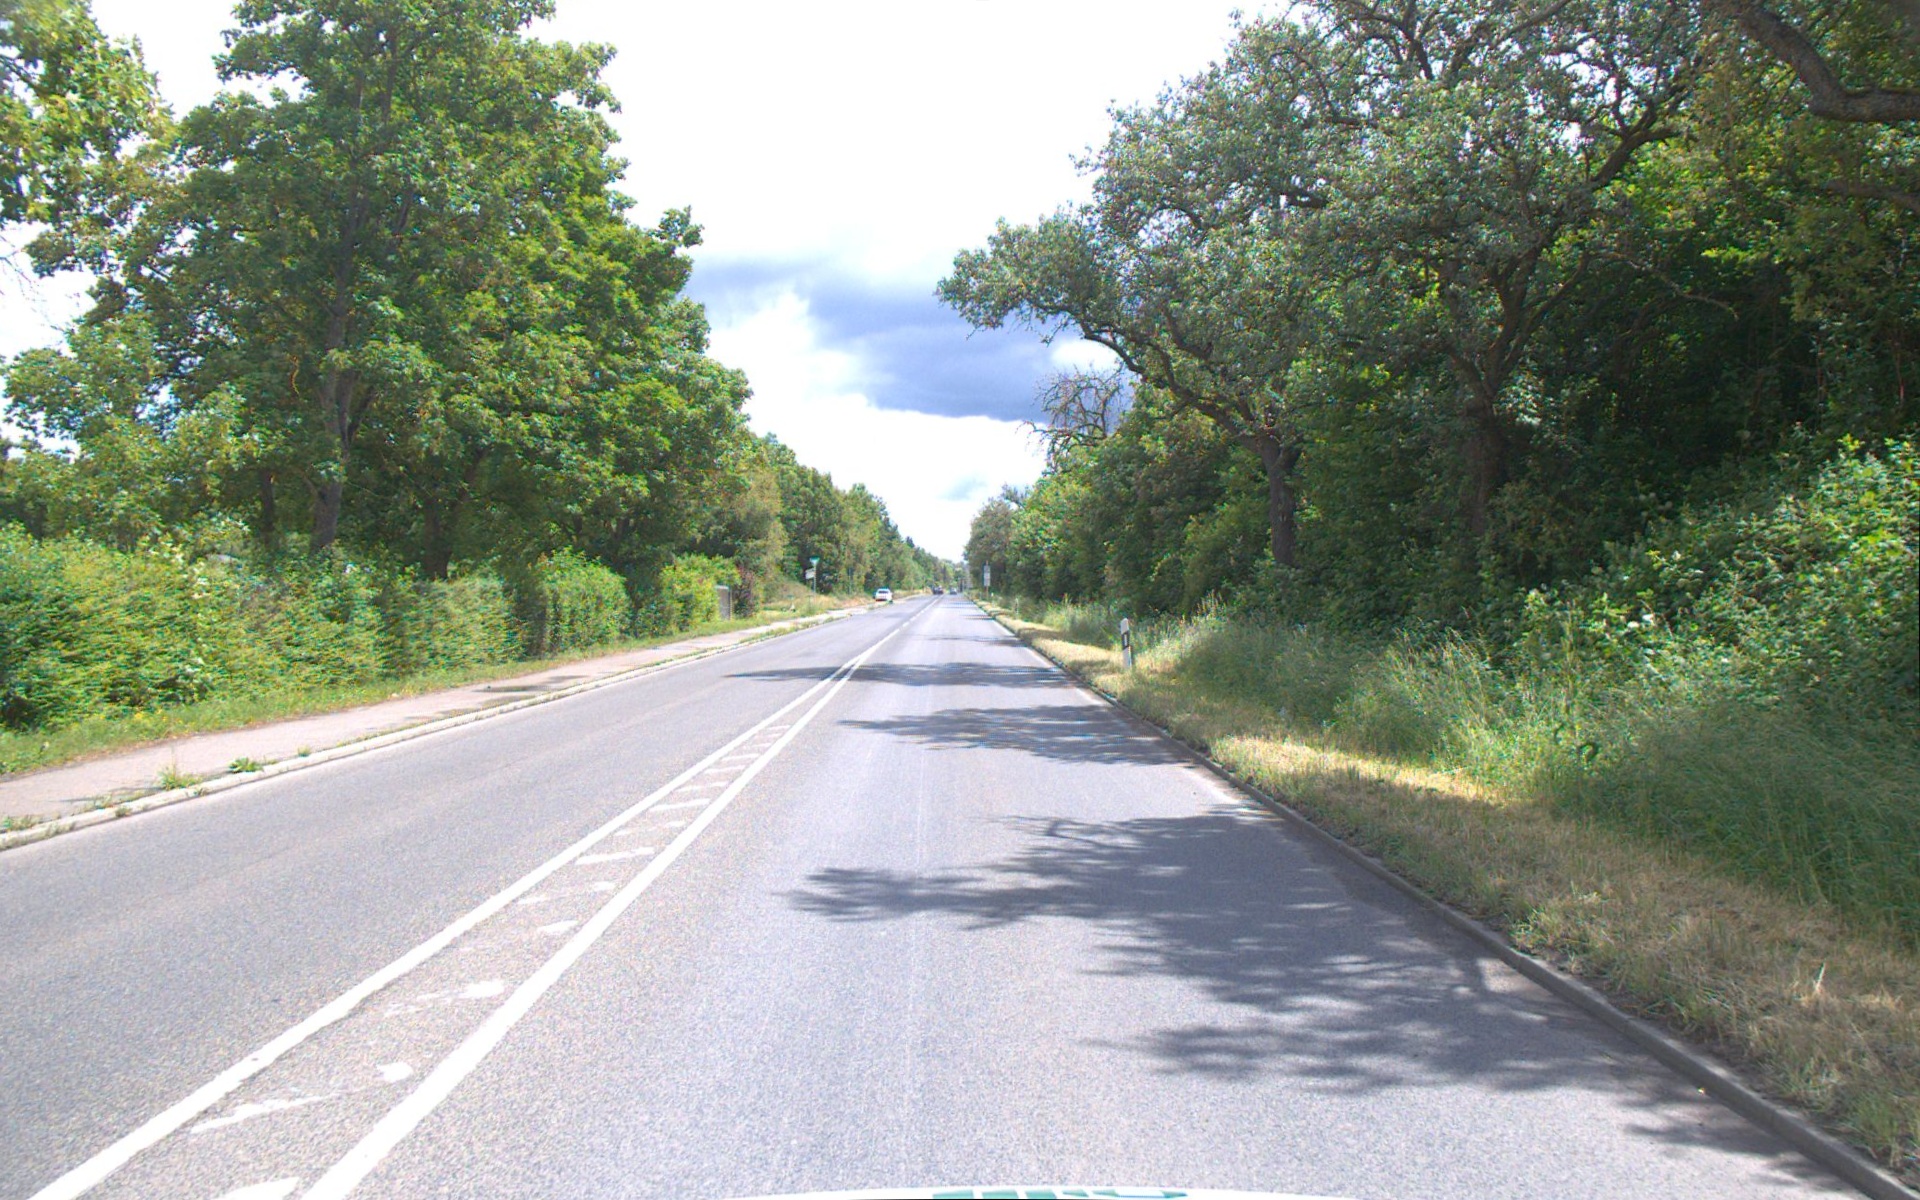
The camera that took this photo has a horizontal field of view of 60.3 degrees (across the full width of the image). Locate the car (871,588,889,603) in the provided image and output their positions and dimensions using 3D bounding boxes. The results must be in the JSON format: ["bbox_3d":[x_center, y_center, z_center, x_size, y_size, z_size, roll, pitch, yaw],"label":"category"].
[{"bbox_3d":[-8.950,-0.455,184.694,1.761,1.570,3.954,-1,-1,0],"label":"car"}]

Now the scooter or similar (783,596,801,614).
[{"bbox_3d":[-11.198,0.361,110.151,1.326,1.189,0.404,0,0,41],"label":"scooter or similar"}]
